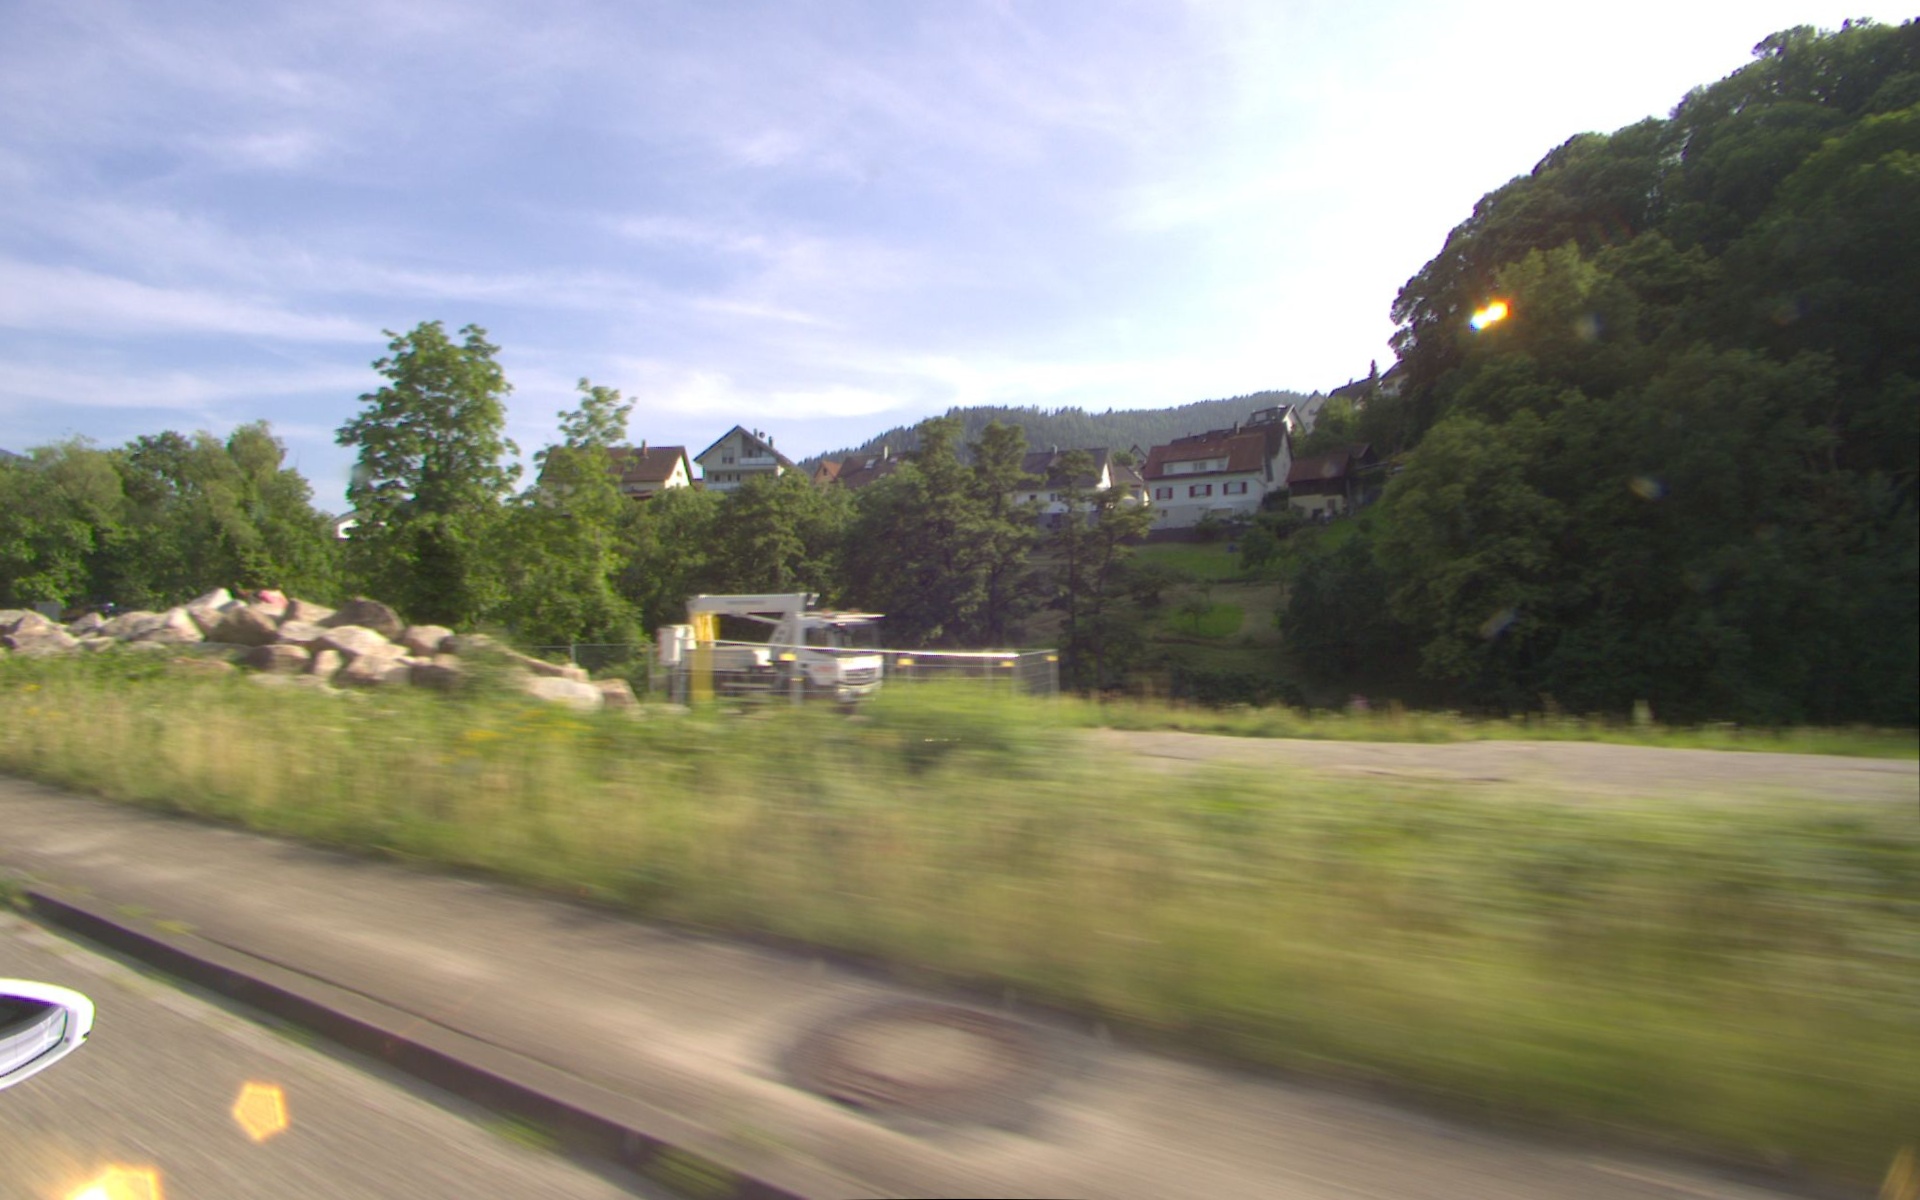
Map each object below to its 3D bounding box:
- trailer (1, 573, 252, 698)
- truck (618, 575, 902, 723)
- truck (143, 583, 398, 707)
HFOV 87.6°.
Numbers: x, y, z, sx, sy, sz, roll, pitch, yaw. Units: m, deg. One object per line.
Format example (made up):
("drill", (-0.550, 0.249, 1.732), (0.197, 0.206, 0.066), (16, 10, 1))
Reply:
("trailer", (-31.745, 1.426, 38.090), (9.747, 4.326, 3.368), (-1, -4, 25))
("truck", (-6.079, 1.450, 29.732), (8.524, 3.828, 3.099), (-1, -4, 34))
("truck", (-23.543, 1.536, 34.135), (8.502, 3.828, 3.107), (0, -4, 25))
